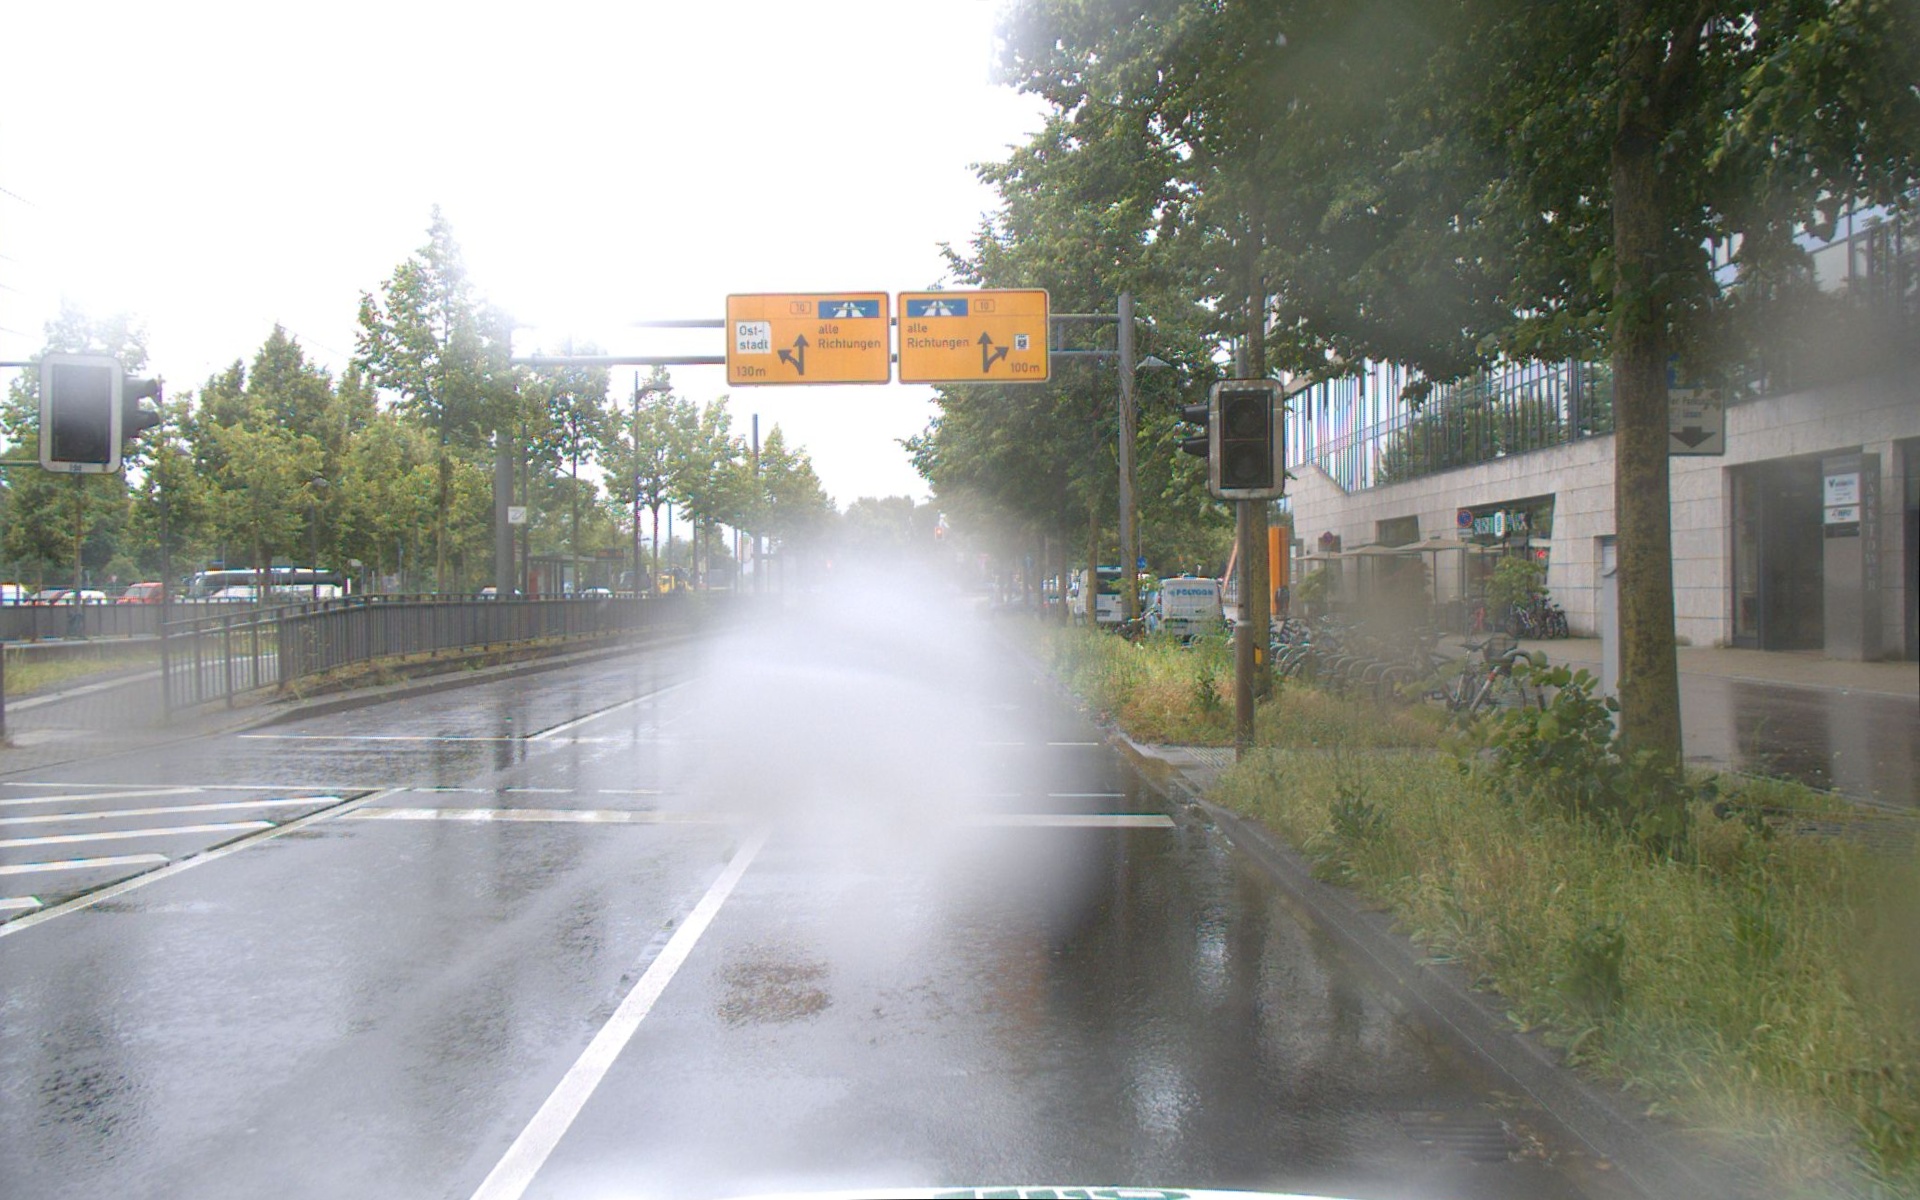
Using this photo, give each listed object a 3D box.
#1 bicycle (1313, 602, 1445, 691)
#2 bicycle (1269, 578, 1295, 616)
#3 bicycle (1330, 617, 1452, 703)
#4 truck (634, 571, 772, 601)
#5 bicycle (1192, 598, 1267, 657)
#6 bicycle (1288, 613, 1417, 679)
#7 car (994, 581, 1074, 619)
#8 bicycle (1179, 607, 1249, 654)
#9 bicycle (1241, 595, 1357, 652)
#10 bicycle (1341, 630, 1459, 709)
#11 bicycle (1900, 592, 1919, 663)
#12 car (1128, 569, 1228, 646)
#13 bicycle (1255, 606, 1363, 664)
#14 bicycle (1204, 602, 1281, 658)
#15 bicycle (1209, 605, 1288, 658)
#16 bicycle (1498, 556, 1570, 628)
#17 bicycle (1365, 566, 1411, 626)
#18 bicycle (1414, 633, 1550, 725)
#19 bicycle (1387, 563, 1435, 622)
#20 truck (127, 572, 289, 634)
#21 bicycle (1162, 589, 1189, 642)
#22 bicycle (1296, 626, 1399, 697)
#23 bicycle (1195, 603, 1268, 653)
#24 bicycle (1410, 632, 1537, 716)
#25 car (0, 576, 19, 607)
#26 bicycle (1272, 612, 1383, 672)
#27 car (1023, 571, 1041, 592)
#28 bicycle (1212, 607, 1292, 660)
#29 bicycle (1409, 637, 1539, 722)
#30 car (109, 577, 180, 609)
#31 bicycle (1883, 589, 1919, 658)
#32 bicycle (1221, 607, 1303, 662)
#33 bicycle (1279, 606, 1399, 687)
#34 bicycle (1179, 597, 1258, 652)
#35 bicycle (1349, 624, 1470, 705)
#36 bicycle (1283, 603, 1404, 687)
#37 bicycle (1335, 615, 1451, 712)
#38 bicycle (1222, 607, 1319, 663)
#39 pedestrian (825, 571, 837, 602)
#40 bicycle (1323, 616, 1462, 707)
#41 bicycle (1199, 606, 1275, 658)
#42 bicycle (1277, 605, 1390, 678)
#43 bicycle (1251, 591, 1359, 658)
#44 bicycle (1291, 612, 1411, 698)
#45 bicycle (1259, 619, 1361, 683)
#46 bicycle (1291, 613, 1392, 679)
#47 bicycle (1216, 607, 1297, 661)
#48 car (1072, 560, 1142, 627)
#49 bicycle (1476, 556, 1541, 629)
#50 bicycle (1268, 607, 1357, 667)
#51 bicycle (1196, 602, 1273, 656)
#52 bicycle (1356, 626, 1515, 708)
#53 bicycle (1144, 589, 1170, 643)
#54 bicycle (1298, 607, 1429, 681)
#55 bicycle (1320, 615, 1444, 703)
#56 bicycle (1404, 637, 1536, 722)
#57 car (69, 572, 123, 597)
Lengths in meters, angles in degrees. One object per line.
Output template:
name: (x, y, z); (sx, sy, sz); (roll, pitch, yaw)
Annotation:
bicycle: (5.467, 0.600, 21.590); (1.674, 1.122, 0.283); (-1, 0, -7)
bicycle: (14.566, -0.142, 74.871); (0.652, 1.561, 2.765); (-1, 3, 0)
bicycle: (5.303, 0.731, 20.386); (1.408, 1.035, 0.349); (0, 0, 4)
truck: (-28.239, -1.503, 182.248); (14.691, 3.202, 3.490); (0, 0, -29)
bicycle: (4.718, 0.476, 28.964); (1.262, 1.006, 0.275); (-1, 0, -1)
bicycle: (5.274, 0.616, 22.247); (1.672, 0.864, 0.313); (-1, 0, -5)
car: (3.437, -0.045, 77.322); (1.798, 1.571, 3.956); (-2, 3, -32)
bicycle: (4.758, 0.563, 30.973); (1.262, 0.864, 0.275); (-1, 0, -1)
bicycle: (5.360, 0.374, 26.193); (1.780, 0.864, 0.275); (-1, 0, -2)
bicycle: (4.981, 0.781, 18.732); (1.261, 0.873, 0.275); (0, 0, 4)
bicycle: (14.922, 0.399, 24.575); (1.658, 1.046, 0.423); (-1, 0, 2)
car: (5.439, 0.158, 41.820); (1.867, 1.822, 4.688); (-1, 1, -1)
bicycle: (5.271, 0.527, 24.992); (1.582, 0.864, 0.275); (1, 0, -2)
bicycle: (4.831, 0.505, 28.312); (1.262, 0.935, 0.275); (-1, 0, -1)
bicycle: (4.871, 0.534, 27.939); (1.262, 0.864, 0.275); (-1, 0, -1)
bicycle: (15.041, -0.245, 43.432); (0.756, 1.752, 3.121); (-1, 3, -1)
bicycle: (13.751, -0.159, 53.255); (0.631, 1.752, 3.121); (-1, 3, -1)
bicycle: (5.223, 0.791, 16.586); (1.261, 0.889, 0.301); (-1, 0, 11)
bicycle: (14.486, -0.259, 53.215); (0.631, 1.752, 3.121); (-1, 3, -1)
truck: (-63.777, 0.195, 140.450); (12.307, 4.672, 3.373); (-2, 3, -28)
bicycle: (3.626, 0.255, 27.823); (0.269, 0.864, 1.292); (-1, 0, 0)
bicycle: (4.951, 0.786, 21.138); (1.263, 0.864, 0.275); (-1, 0, -6)
bicycle: (4.865, 0.493, 29.660); (1.262, 0.864, 0.275); (-1, 0, -1)
bicycle: (5.440, 0.784, 17.548); (1.261, 0.864, 0.275); (-1, 0, 11)
car: (-65.213, -0.575, 110.282); (1.951, 2.049, 4.218); (0, 0, 15)
bicycle: (5.412, 0.622, 24.389); (1.582, 0.864, 0.275); (1, 0, -2)
car: (6.566, -1.663, 149.614); (1.589, 1.729, 3.458); (-1, 3, 3)
bicycle: (4.861, 0.557, 27.588); (1.262, 0.864, 0.355); (-1, 0, -1)
bicycle: (5.354, 0.833, 17.248); (1.261, 0.864, 0.275); (-1, 0, 11)
car: (-52.345, -0.449, 106.224); (1.951, 2.049, 4.003); (0, 0, 15)
bicycle: (14.951, 0.347, 25.082); (1.658, 1.046, 0.423); (-1, 0, 2)
bicycle: (4.906, 0.562, 26.883); (1.262, 0.864, 0.275); (-1, 0, -1)
bicycle: (5.238, 0.638, 22.880); (1.580, 1.072, 0.296); (-1, 0, -3)
bicycle: (4.893, 0.461, 31.321); (1.430, 0.997, 0.311); (-1, 0, -1)
bicycle: (5.002, 0.718, 18.417); (1.261, 0.864, 0.275); (-1, 0, 4)
bicycle: (5.226, 0.608, 22.575); (1.580, 1.116, 0.296); (-1, 0, -3)
bicycle: (5.007, 0.735, 19.149); (1.261, 1.093, 0.275); (-1, 0, 7)
bicycle: (4.987, 0.564, 26.582); (1.491, 0.864, 0.277); (-1, 0, -2)
pedestrian: (-8.668, -0.897, 111.192); (0.683, 2.048, 0.656); (0, 2, 10)
bicycle: (5.101, 0.720, 19.550); (1.540, 1.035, 0.408); (-1, 0, 6)
bicycle: (4.802, 0.549, 28.660); (1.262, 0.864, 0.275); (-1, 0, -1)
bicycle: (5.437, 0.600, 24.084); (1.582, 1.040, 0.275); (1, 0, -2)
bicycle: (5.380, 0.383, 25.831); (1.609, 1.006, 0.320); (-1, 0, -1)
bicycle: (4.909, 0.688, 20.782); (1.423, 1.035, 0.348); (-1, 0, -3)
bicycle: (4.923, 0.711, 23.292); (1.377, 0.864, 0.275); (-1, 0, -3)
bicycle: (5.464, 0.654, 23.723); (1.382, 0.913, 0.275); (-1, 0, -3)
bicycle: (4.875, 0.560, 27.217); (1.262, 0.864, 0.275); (-1, 0, -1)
car: (5.305, -0.249, 60.369); (2.078, 2.313, 4.564); (-1, 1, -1)
bicycle: (14.277, -0.222, 43.156); (0.631, 1.752, 3.121); (-1, 3, -1)
bicycle: (5.274, 0.552, 24.734); (1.262, 0.864, 0.275); (-1, 0, -1)
bicycle: (4.862, 0.507, 29.300); (1.298, 0.926, 0.275); (-1, 0, -1)
bicycle: (5.191, 0.728, 18.077); (1.637, 0.864, 0.275); (-1, 0, 3)
bicycle: (3.303, 0.258, 27.799); (0.269, 0.864, 1.292); (-1, 0, 0)
bicycle: (5.339, 0.582, 21.889); (1.673, 0.964, 0.313); (1, 0, -7)
bicycle: (5.098, 0.712, 20.010); (1.408, 1.035, 0.349); (0, 0, 6)
bicycle: (5.220, 0.816, 16.971); (1.261, 0.846, 0.275); (-1, 0, 11)
car: (-65.141, -1.186, 124.723); (3.486, 1.768, 1.693); (-2, 3, -25)
